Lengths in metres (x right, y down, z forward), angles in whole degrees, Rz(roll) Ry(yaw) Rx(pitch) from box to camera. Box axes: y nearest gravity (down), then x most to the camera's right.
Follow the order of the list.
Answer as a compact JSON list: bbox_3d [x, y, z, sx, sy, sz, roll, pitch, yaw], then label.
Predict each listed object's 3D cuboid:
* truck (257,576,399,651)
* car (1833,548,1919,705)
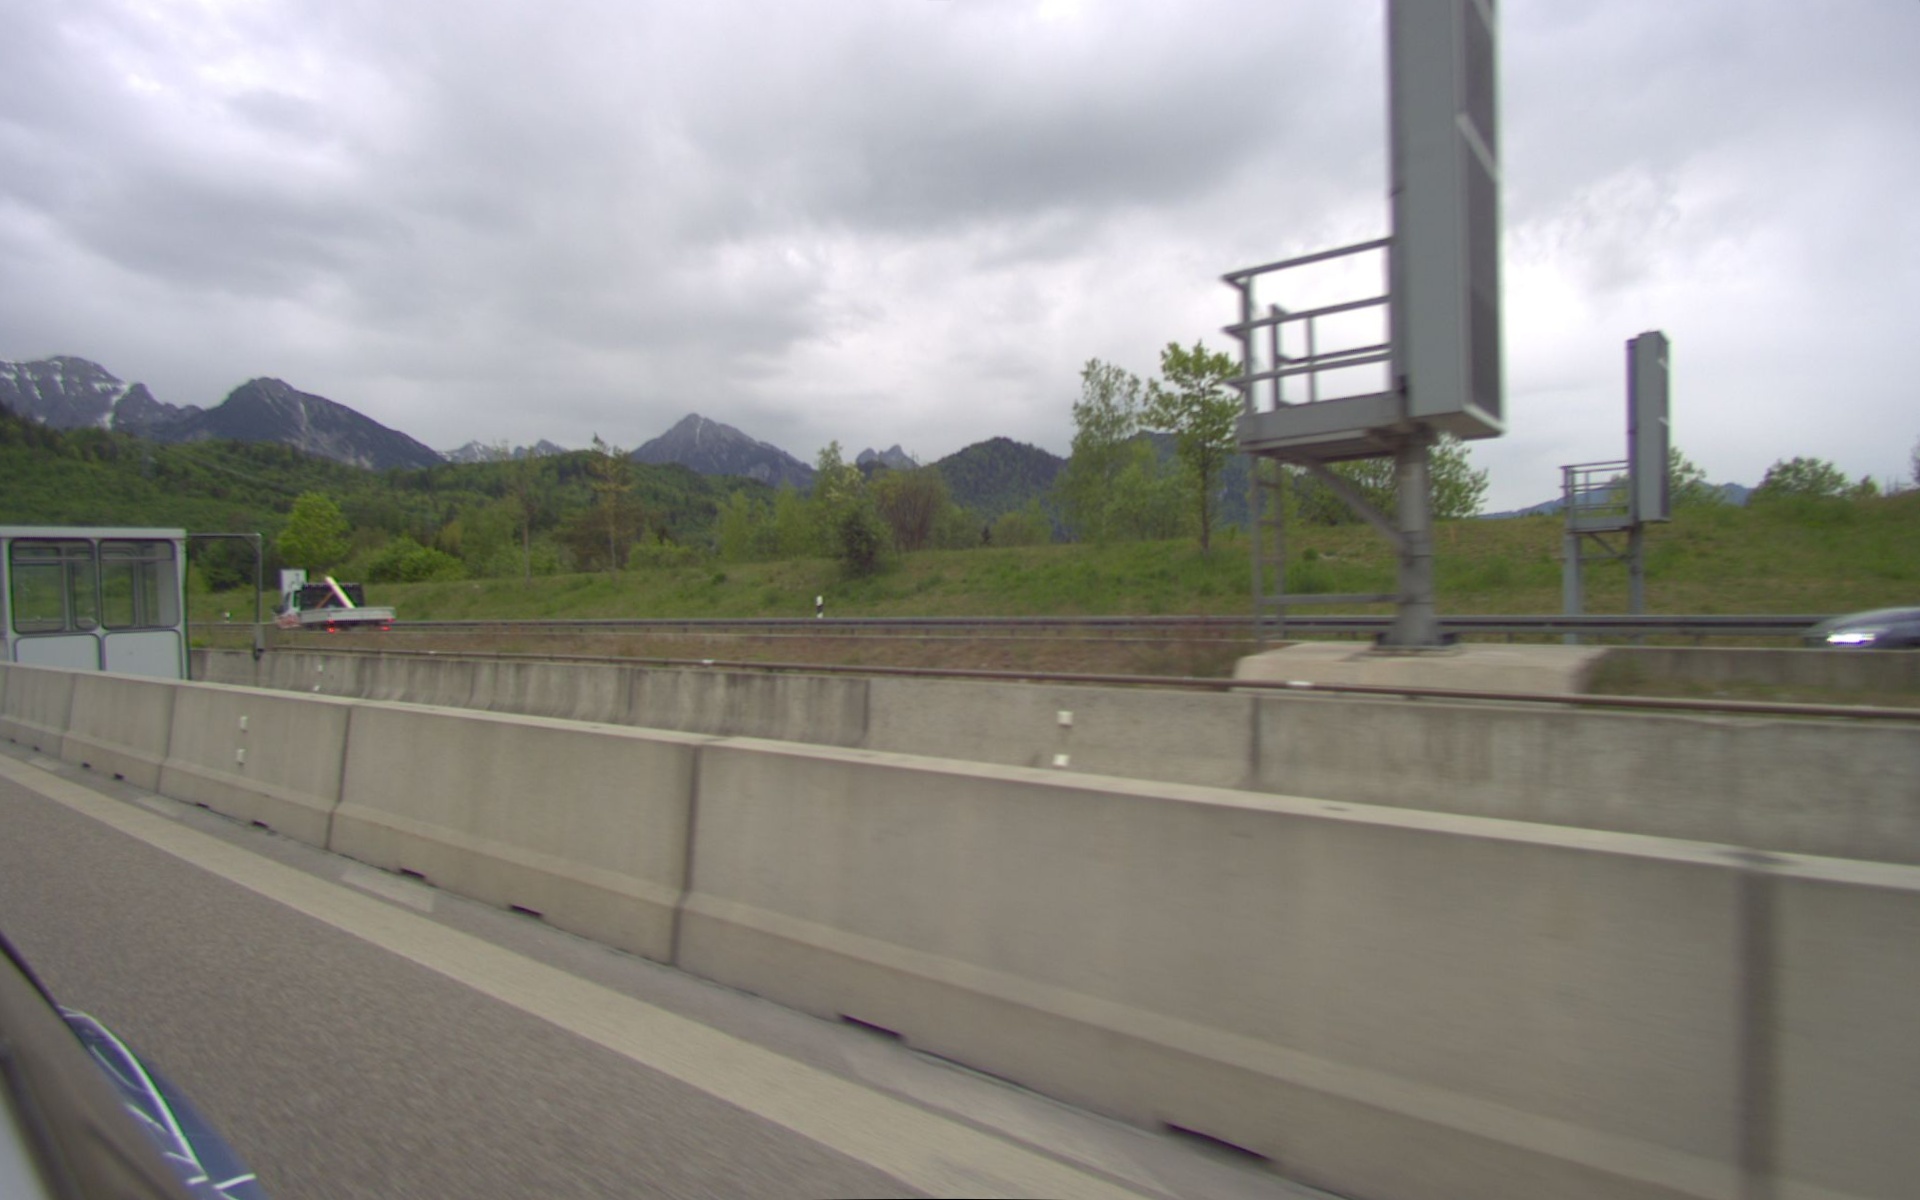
[{"bbox_3d":[-22.795,0.483,36.401,5.979,2.498,2.335,-1,0,38],"label":"truck"},{"bbox_3d":[10.822,0.210,9.511,3.832,1.512,1.592,-1,0,38],"label":"car"}]
